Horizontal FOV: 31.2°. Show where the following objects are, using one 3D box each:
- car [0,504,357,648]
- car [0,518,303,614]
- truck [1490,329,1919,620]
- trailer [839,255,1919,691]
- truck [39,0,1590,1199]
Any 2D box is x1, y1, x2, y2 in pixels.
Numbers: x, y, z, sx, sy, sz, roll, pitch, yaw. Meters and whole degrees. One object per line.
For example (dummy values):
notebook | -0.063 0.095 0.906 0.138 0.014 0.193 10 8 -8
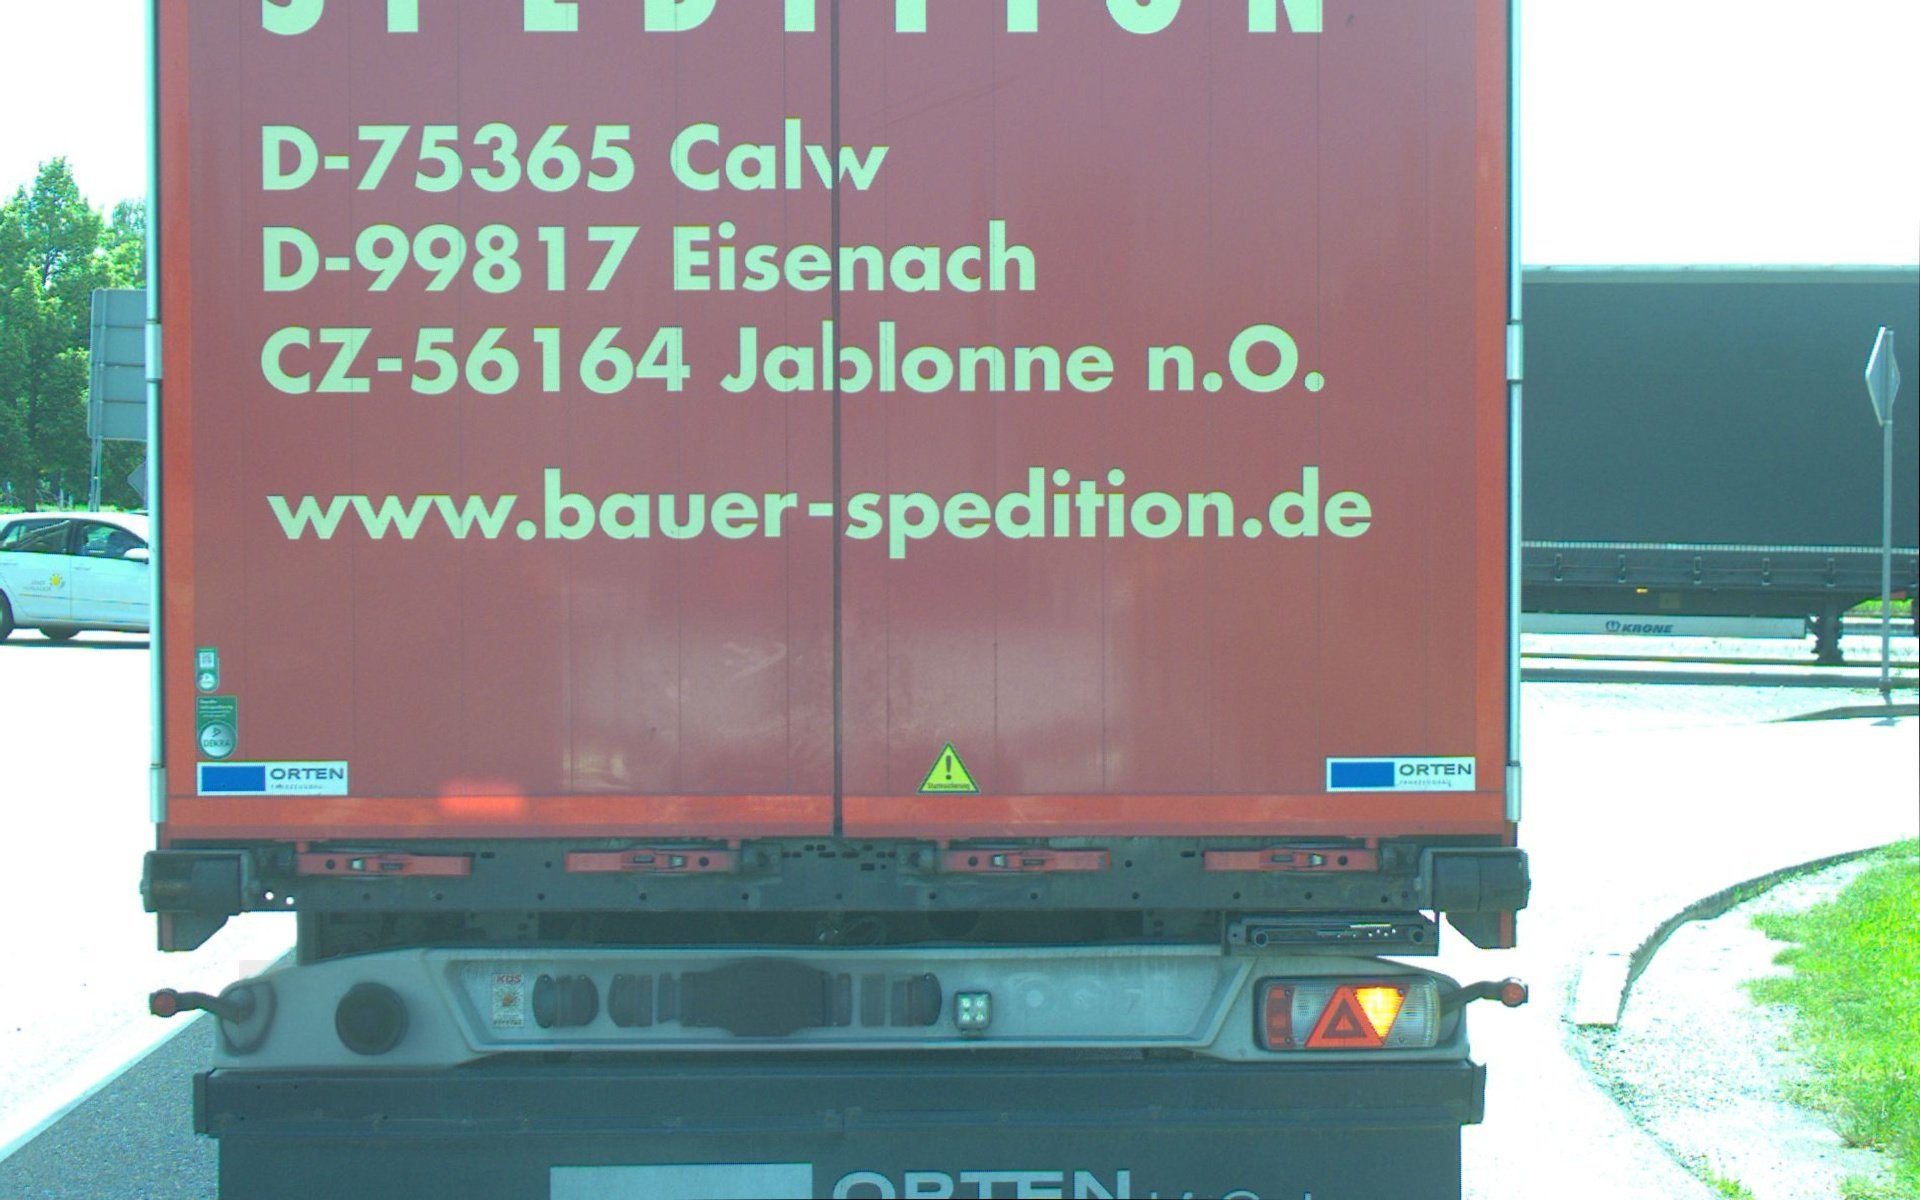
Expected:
car | -9.011 -0.297 37.987 4.249 1.456 1.809 1 2 16
car | -11.624 -0.506 49.009 4.273 1.300 1.739 1 1 27
truck | 14.787 -1.720 47.799 14.297 3.966 3.025 1 2 21
trailer | 5.794 -1.296 34.107 13.692 4.047 2.797 1 2 13
truck | -0.386 -0.799 14.396 2.734 3.911 16.627 0 1 -1
